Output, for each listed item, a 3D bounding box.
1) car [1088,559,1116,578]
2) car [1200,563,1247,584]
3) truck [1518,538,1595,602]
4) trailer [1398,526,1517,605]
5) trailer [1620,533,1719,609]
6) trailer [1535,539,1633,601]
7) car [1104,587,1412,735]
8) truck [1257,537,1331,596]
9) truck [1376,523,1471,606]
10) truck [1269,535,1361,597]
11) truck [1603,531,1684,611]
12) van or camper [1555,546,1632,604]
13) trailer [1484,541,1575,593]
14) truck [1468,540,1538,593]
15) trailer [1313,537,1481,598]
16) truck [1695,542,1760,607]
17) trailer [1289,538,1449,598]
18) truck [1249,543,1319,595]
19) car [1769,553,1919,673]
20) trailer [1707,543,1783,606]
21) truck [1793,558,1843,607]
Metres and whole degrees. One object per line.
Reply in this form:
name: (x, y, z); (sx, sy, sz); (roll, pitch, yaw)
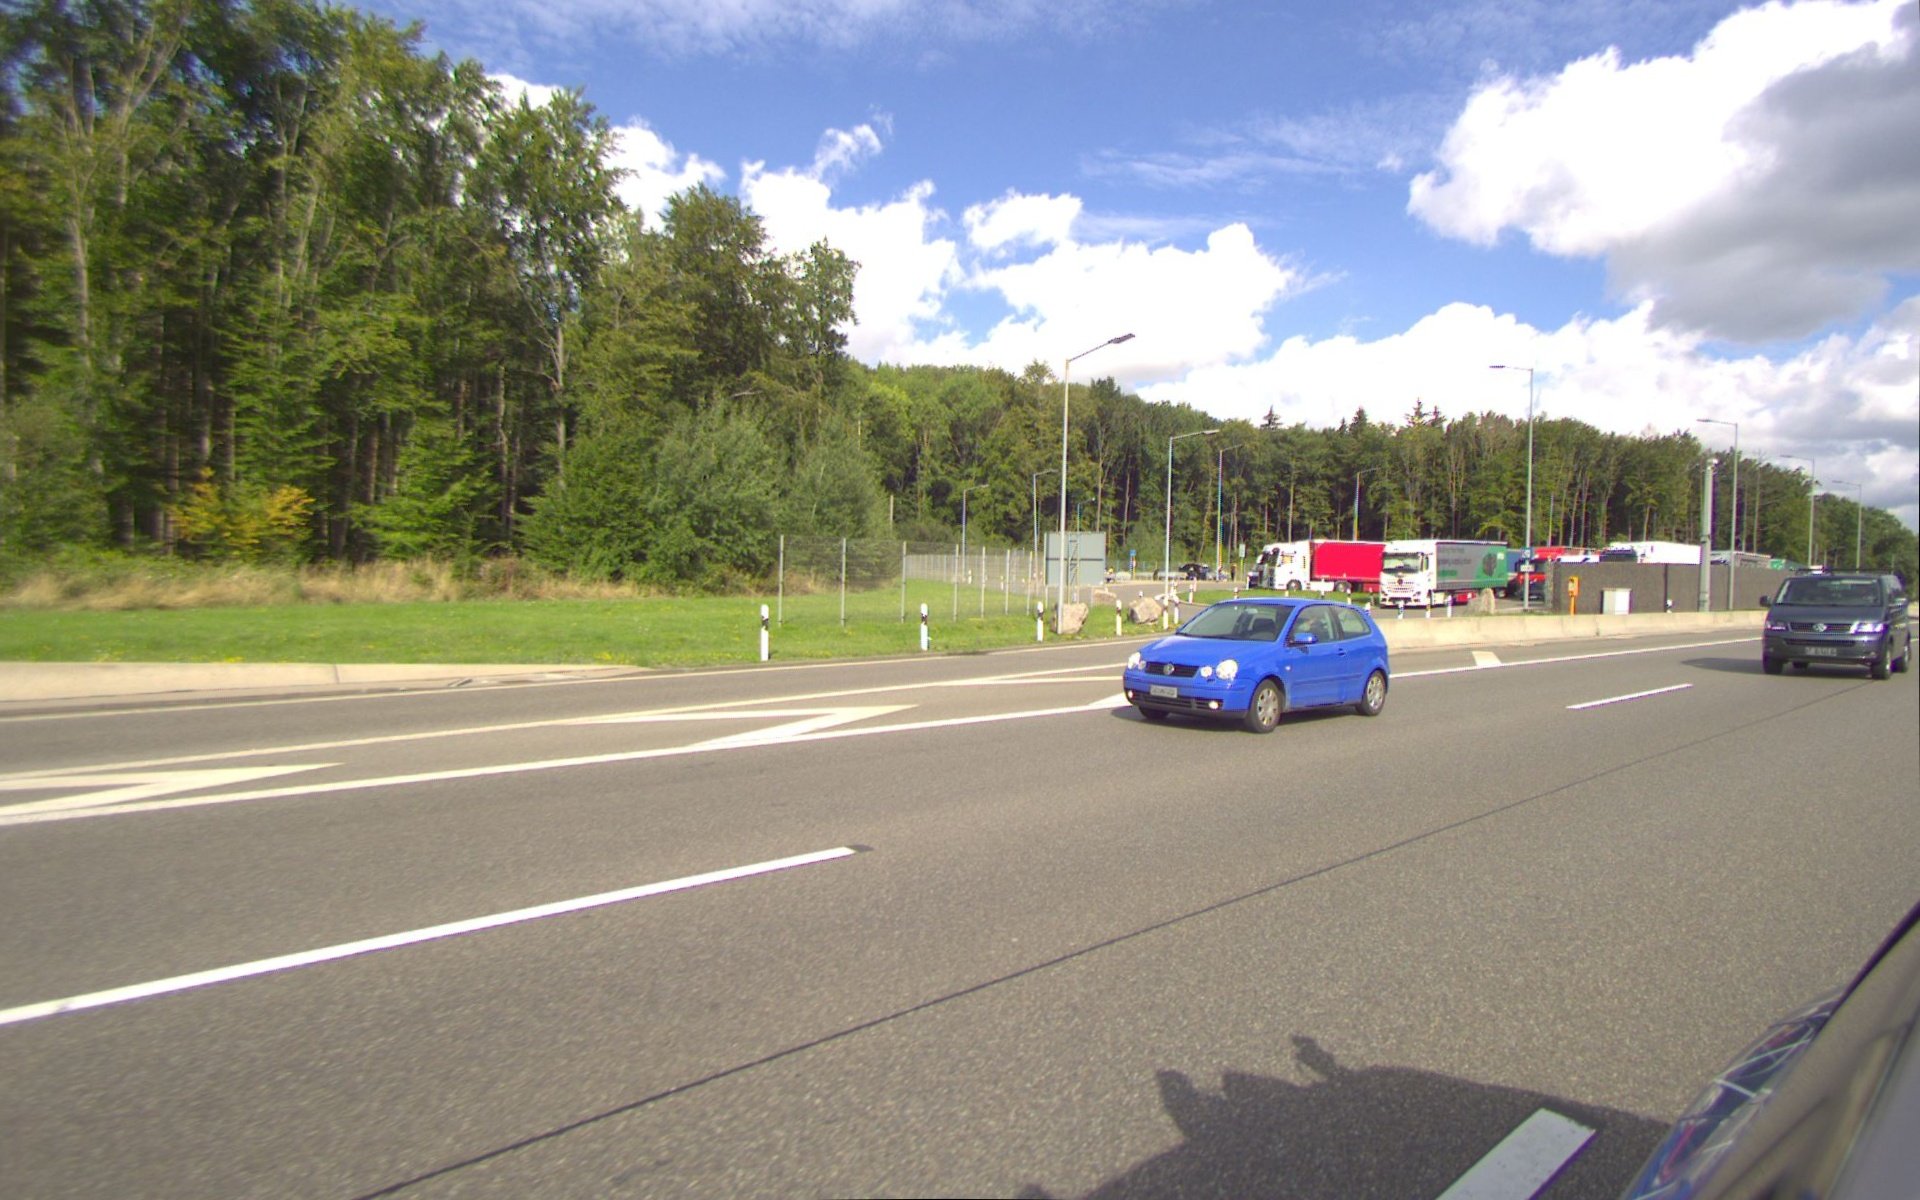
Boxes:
car: (13.264, -2.965, 94.968); (1.920, 1.704, 4.002); (1, 2, -2)
car: (25.323, -2.525, 97.356); (1.966, 1.938, 3.994); (0, 2, -42)
truck: (44.607, -2.181, 75.624); (6.913, 4.563, 2.877); (0, 1, -41)
trailer: (31.747, -2.094, 64.185); (2.872, 4.563, 12.795); (2, 2, 44)
trailer: (49.927, -1.934, 70.982); (12.884, 4.986, 2.659); (0, 2, -42)
trailer: (49.486, -2.249, 79.972); (13.457, 4.563, 2.876); (0, 1, -42)
car: (3.636, 0.596, 11.991); (3.930, 1.460, 1.653); (0, 1, -41)
truck: (26.636, -2.657, 80.886); (5.032, 4.564, 2.893); (1, 1, 6)
truck: (27.216, -2.013, 59.272); (2.871, 4.563, 7.066); (2, 2, 43)
truck: (26.945, -2.570, 76.992); (5.991, 4.564, 2.876); (1, 0, 6)
truck: (45.131, -1.868, 66.727); (6.864, 4.986, 2.659); (0, 2, -41)
van or camper: (37.246, -1.437, 59.467); (4.656, 3.237, 2.394); (0, 1, -39)
trailer: (47.735, -2.658, 84.573); (11.871, 4.075, 2.996); (-1, 0, -42)
truck: (43.238, -2.591, 80.572); (6.147, 4.075, 2.979); (-1, 0, -42)
trailer: (32.797, -2.441, 76.334); (11.187, 4.429, 2.840); (1, 0, 7)
truck: (61.233, -2.007, 80.700); (7.136, 4.986, 2.659); (0, 2, -41)
trailer: (32.303, -2.537, 80.319); (11.345, 4.485, 2.858); (1, 1, 6)
truck: (26.859, -2.552, 84.070); (5.081, 4.169, 2.569); (1, 1, 6)
car: (18.007, 0.227, 20.367); (4.845, 2.136, 1.852); (0, 0, -41)
trailer: (65.897, -2.068, 84.807); (12.522, 4.986, 2.659); (0, 2, -42)
truck: (89.329, -1.788, 105.338); (7.253, 4.986, 2.660); (0, 2, -40)
